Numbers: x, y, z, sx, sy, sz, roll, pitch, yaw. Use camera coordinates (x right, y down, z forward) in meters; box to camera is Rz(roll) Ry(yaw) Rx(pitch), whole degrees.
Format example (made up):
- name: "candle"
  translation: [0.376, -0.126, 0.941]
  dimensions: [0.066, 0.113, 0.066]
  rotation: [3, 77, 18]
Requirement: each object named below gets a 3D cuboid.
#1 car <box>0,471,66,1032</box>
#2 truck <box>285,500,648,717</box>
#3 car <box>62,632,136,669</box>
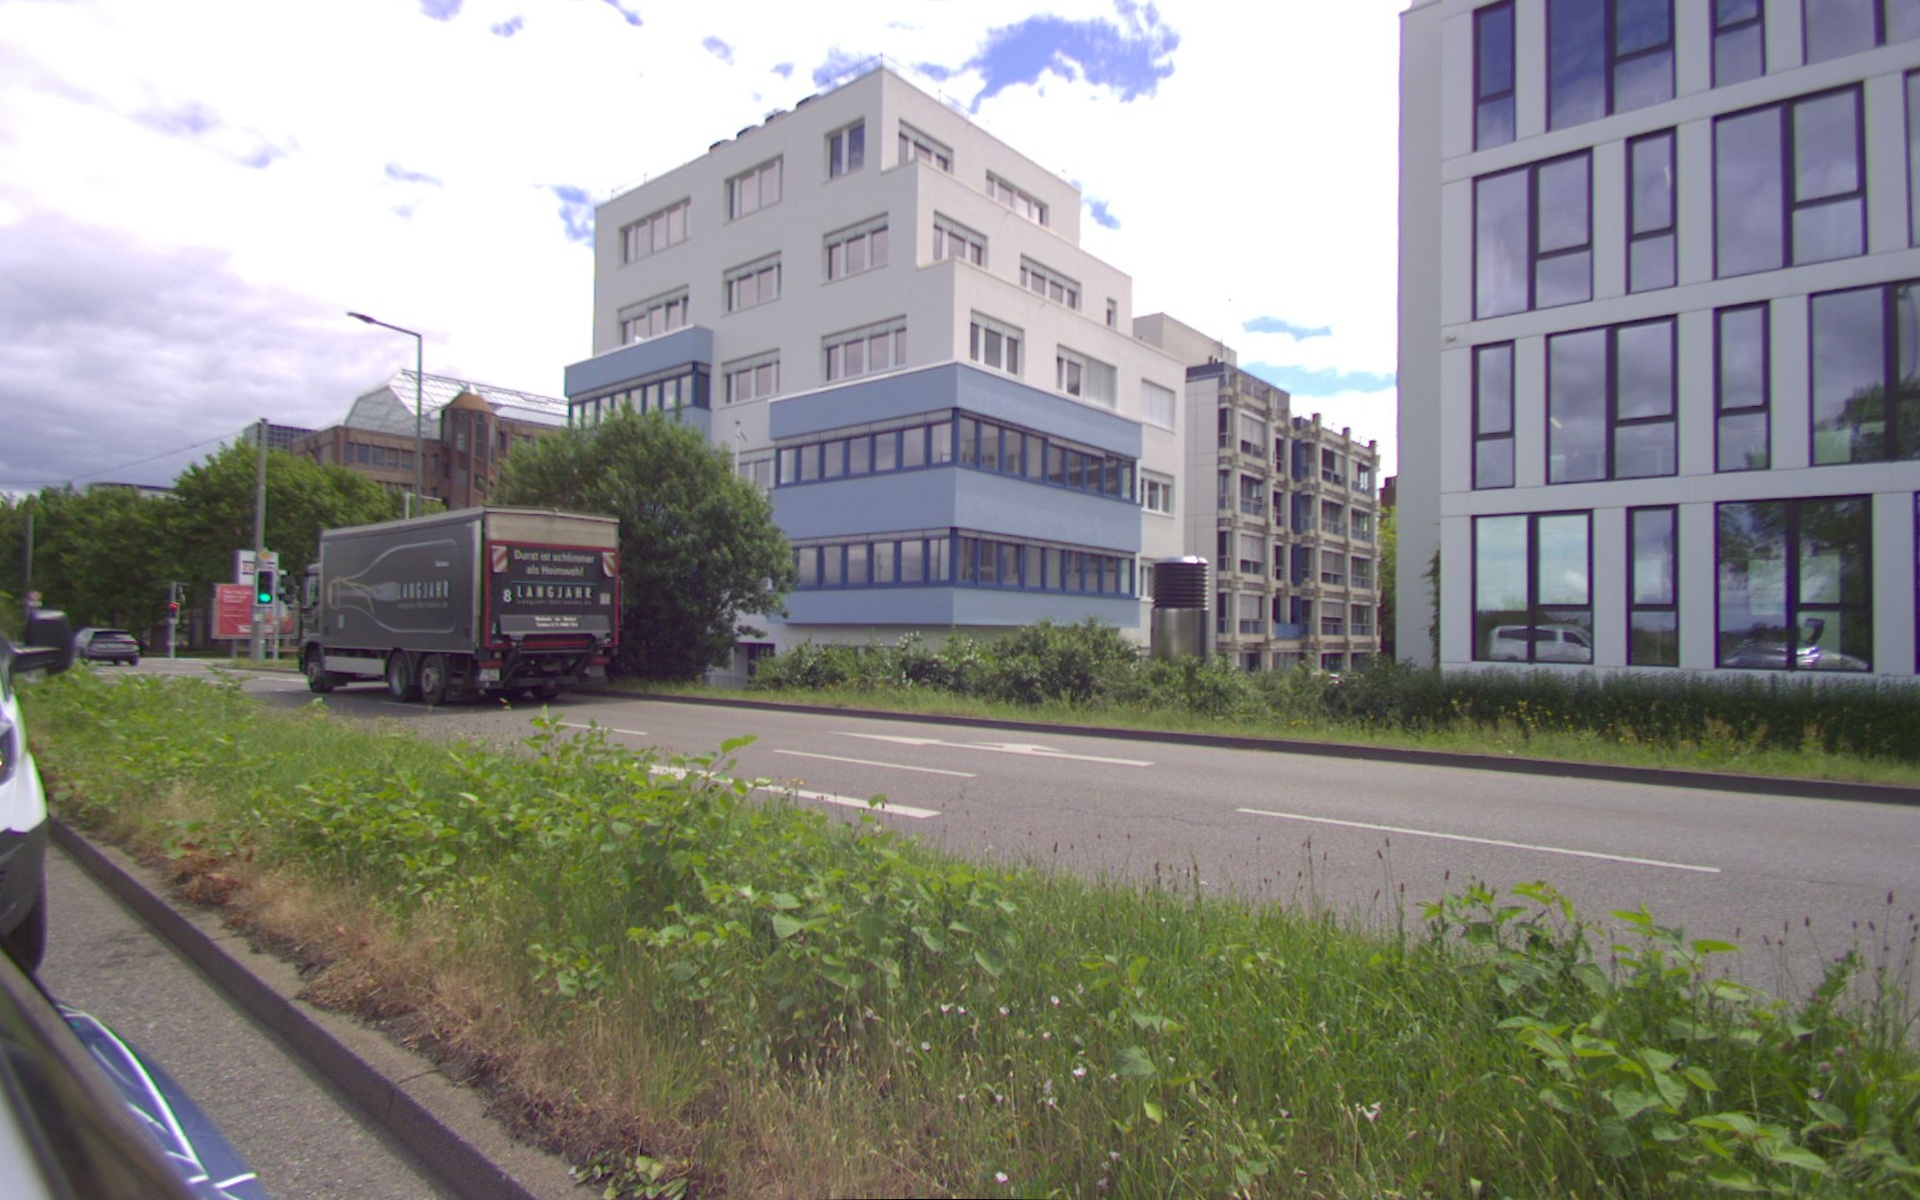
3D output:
- name: "car"
  translation: [-5.781, 0.574, 4.612]
  dimensions: [5.052, 1.965, 1.942]
  rotation: [-2, -1, 41]
- name: "truck"
  translation: [-10.468, 0.204, 20.800]
  dimensions: [9.518, 3.544, 3.136]
  rotation: [-1, -1, 40]
- name: "car"
  translation: [-33.583, 1.945, 39.439]
  dimensions: [3.775, 1.393, 1.538]
  rotation: [-2, -2, 39]
